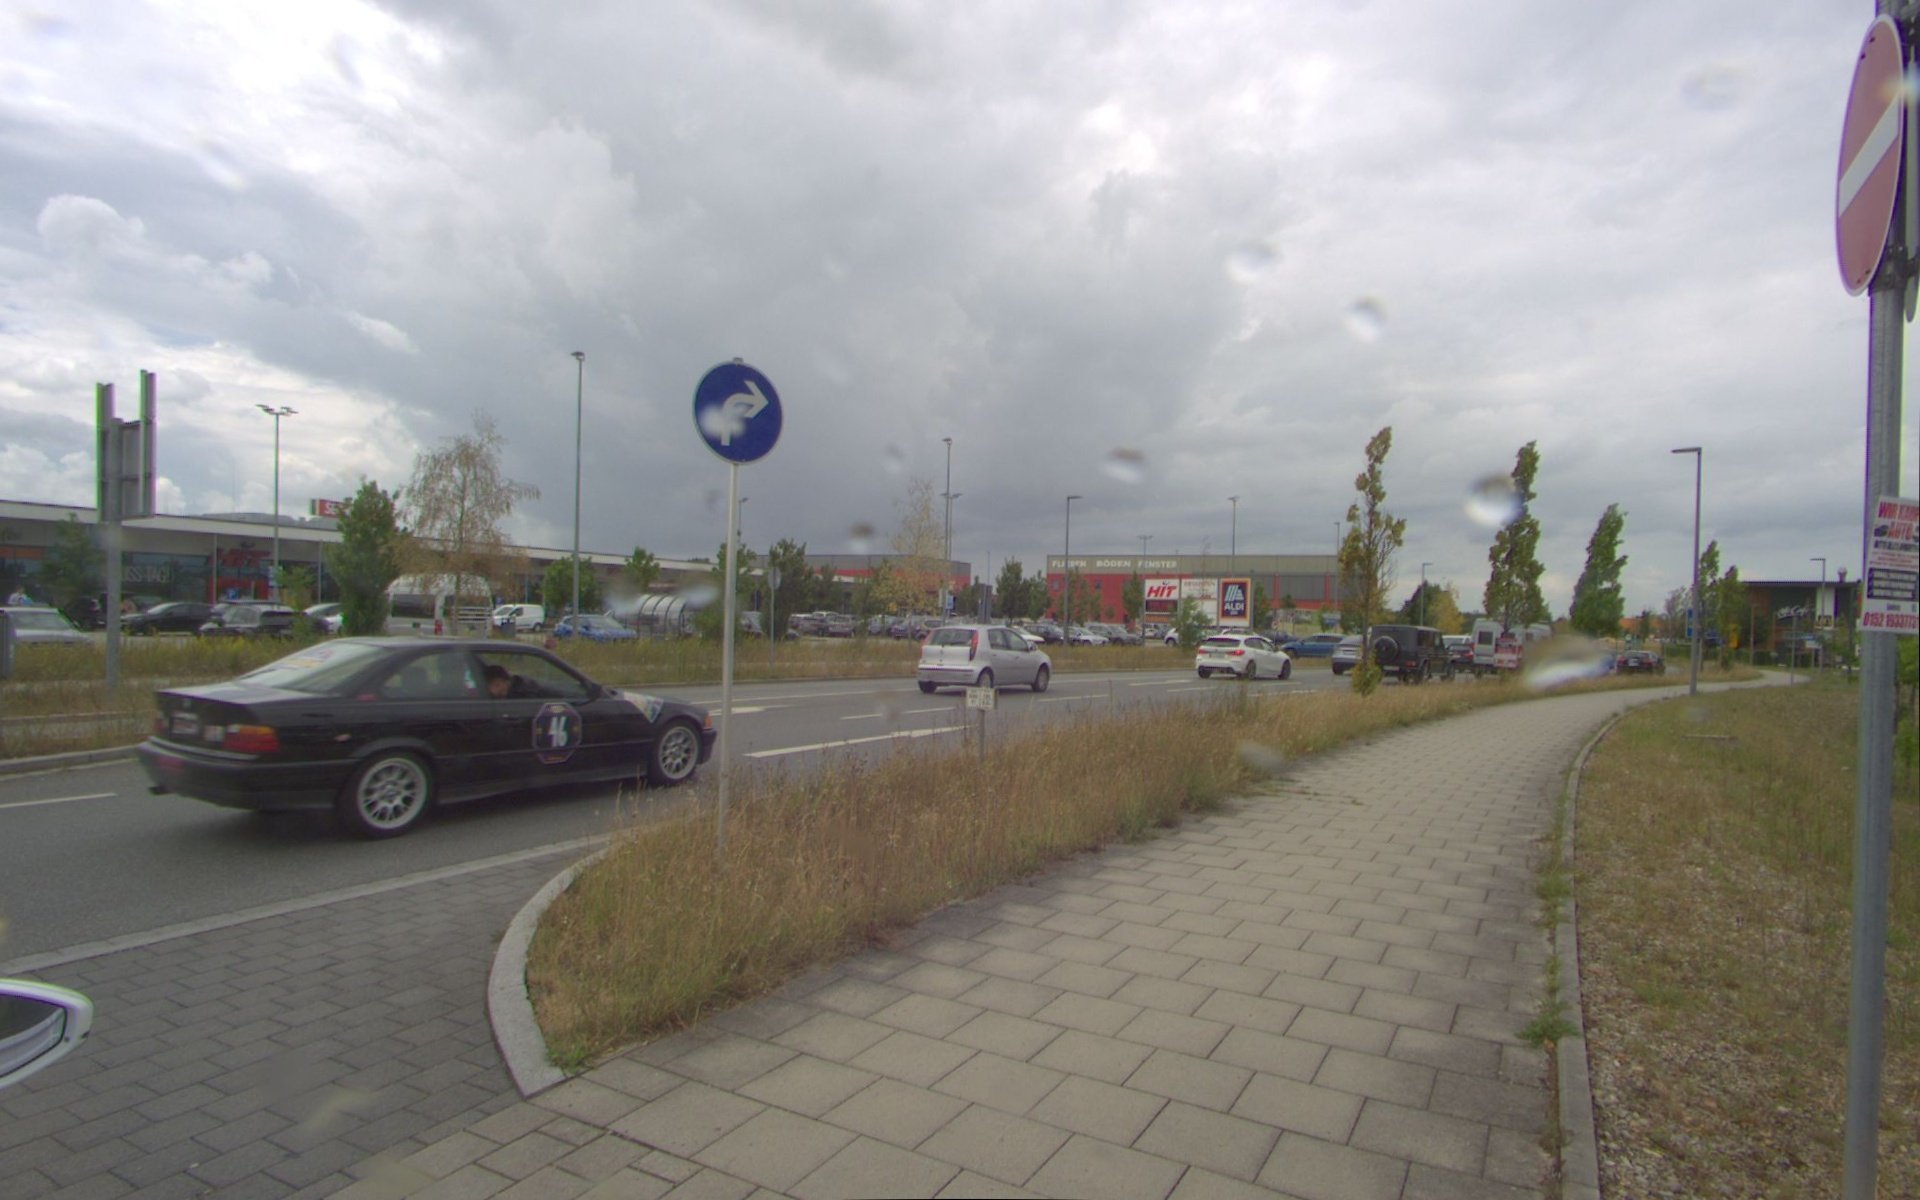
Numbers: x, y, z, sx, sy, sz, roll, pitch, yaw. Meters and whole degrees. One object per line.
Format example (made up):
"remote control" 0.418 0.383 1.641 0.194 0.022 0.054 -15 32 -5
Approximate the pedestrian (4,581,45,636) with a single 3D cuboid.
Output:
"pedestrian" -34.991 0.323 37.461 0.988 2.040 0.864 2 0 31

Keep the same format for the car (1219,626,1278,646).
"car" 22.483 2.816 78.162 3.950 1.460 1.986 0 -2 39

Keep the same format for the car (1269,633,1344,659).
"car" 20.945 2.735 60.530 3.942 1.394 1.856 1 -1 32

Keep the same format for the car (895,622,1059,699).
"car" 0.457 1.254 21.879 1.776 1.480 3.794 1 -1 35

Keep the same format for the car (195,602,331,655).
"car" -20.863 0.823 29.951 4.092 1.469 1.985 0 -2 34

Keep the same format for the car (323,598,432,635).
"car" -27.279 0.787 46.987 1.972 1.639 3.978 1 -1 34

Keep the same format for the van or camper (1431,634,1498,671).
"van or camper" 28.674 2.955 56.827 1.978 1.936 5.159 1 -1 43

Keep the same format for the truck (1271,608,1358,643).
"truck" 32.297 2.350 91.106 8.061 2.984 2.668 2 0 -27

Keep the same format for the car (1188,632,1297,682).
"car" 9.323 1.828 32.886 1.780 1.469 4.214 1 -1 42

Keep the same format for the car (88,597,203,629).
"car" -40.605 0.671 49.997 1.968 1.527 3.986 1 -1 27

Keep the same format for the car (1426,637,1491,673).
"car" 24.150 2.650 48.434 1.886 1.588 4.304 1 -1 40

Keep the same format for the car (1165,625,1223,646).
"car" 16.903 2.567 72.412 3.800 1.446 1.728 0 -2 43

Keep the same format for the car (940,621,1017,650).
"car" 0.985 1.867 53.822 3.766 1.408 1.901 1 0 38

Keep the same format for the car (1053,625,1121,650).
"car" 7.948 2.316 62.554 3.766 1.408 1.901 1 0 38

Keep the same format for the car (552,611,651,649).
"car" -14.174 1.180 39.485 4.099 1.402 1.798 0 -2 39

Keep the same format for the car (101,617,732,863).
"car" -4.005 0.888 8.214 1.732 1.404 4.284 1 -1 29

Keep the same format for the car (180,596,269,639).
"car" -30.870 0.721 41.986 3.945 1.675 1.810 1 0 34

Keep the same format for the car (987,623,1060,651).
"car" 3.633 2.106 57.497 3.766 1.408 1.901 1 0 38

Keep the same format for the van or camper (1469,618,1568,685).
"van or camper" 23.662 2.168 42.307 2.172 2.574 6.114 1 -2 43

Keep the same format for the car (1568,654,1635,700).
"car" 26.136 3.102 40.785 1.667 1.698 3.476 0 -2 43

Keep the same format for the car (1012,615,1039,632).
"car" 6.972 2.449 106.060 1.733 1.675 3.827 2 0 22

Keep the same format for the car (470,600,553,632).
"car" -27.257 0.998 61.036 1.966 1.842 4.418 1 -2 23

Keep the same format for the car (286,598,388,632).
"car" -31.550 0.790 50.801 1.972 1.639 3.978 1 -1 34

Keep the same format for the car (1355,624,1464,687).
"car" 15.489 1.889 34.373 1.978 1.948 4.809 1 -2 42

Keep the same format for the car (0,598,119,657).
"car" -23.629 0.680 25.744 4.092 1.402 1.985 0 -2 34

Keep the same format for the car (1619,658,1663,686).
"car" 36.894 3.886 54.213 1.479 1.403 3.312 0 -2 43

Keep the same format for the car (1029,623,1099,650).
"car" 6.257 2.175 60.255 3.766 1.408 1.901 1 0 38

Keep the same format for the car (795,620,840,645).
"car" -10.339 2.363 72.990 1.731 1.675 3.831 2 0 17

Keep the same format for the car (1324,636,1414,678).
"car" 16.513 2.245 40.306 1.790 1.527 4.844 1 -1 42

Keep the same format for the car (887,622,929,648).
"car" -3.572 2.411 69.448 1.731 1.675 3.831 2 0 17

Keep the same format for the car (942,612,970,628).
"car" -0.394 2.194 108.828 1.733 1.675 3.827 2 0 22

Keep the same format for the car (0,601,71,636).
"car" -44.106 0.850 47.225 3.937 1.527 1.993 1 -1 28

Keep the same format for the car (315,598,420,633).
"car" -29.176 0.786 49.405 1.972 1.639 3.978 1 -1 34

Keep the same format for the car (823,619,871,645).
"car" -8.024 2.246 71.579 1.964 1.756 3.994 2 0 18

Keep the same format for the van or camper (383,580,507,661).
"van or camper" -17.265 0.692 33.502 3.951 2.524 2.274 0 -1 39
